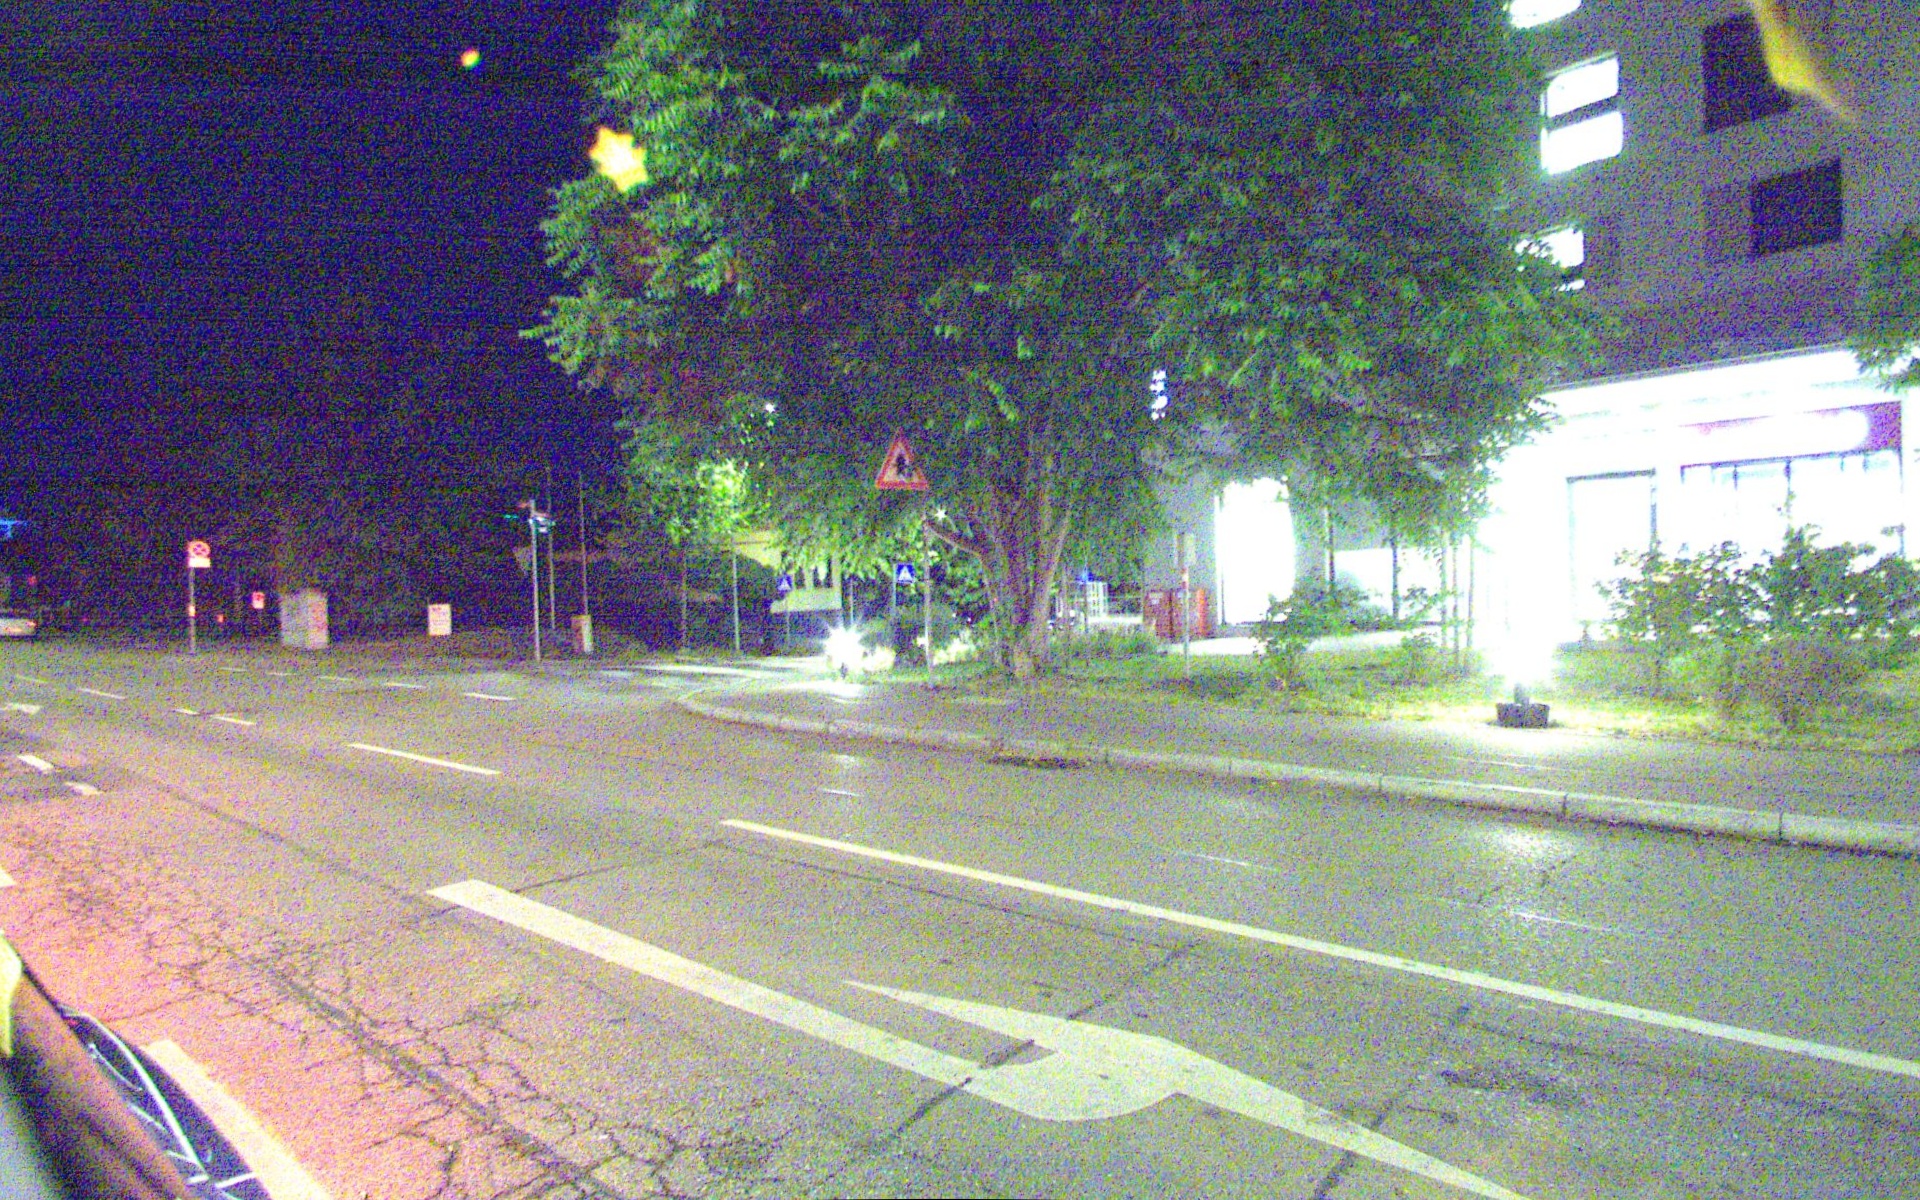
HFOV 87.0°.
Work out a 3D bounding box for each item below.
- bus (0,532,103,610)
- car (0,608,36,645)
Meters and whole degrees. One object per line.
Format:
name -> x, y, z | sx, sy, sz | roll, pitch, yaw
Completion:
bus -> -88.342, -2.604, 98.048 | 14.776, 6.990, 6.056 | -1, 0, 41
car -> -43.160, 1.189, 45.579 | 3.997, 1.604, 1.783 | -1, 0, 40
